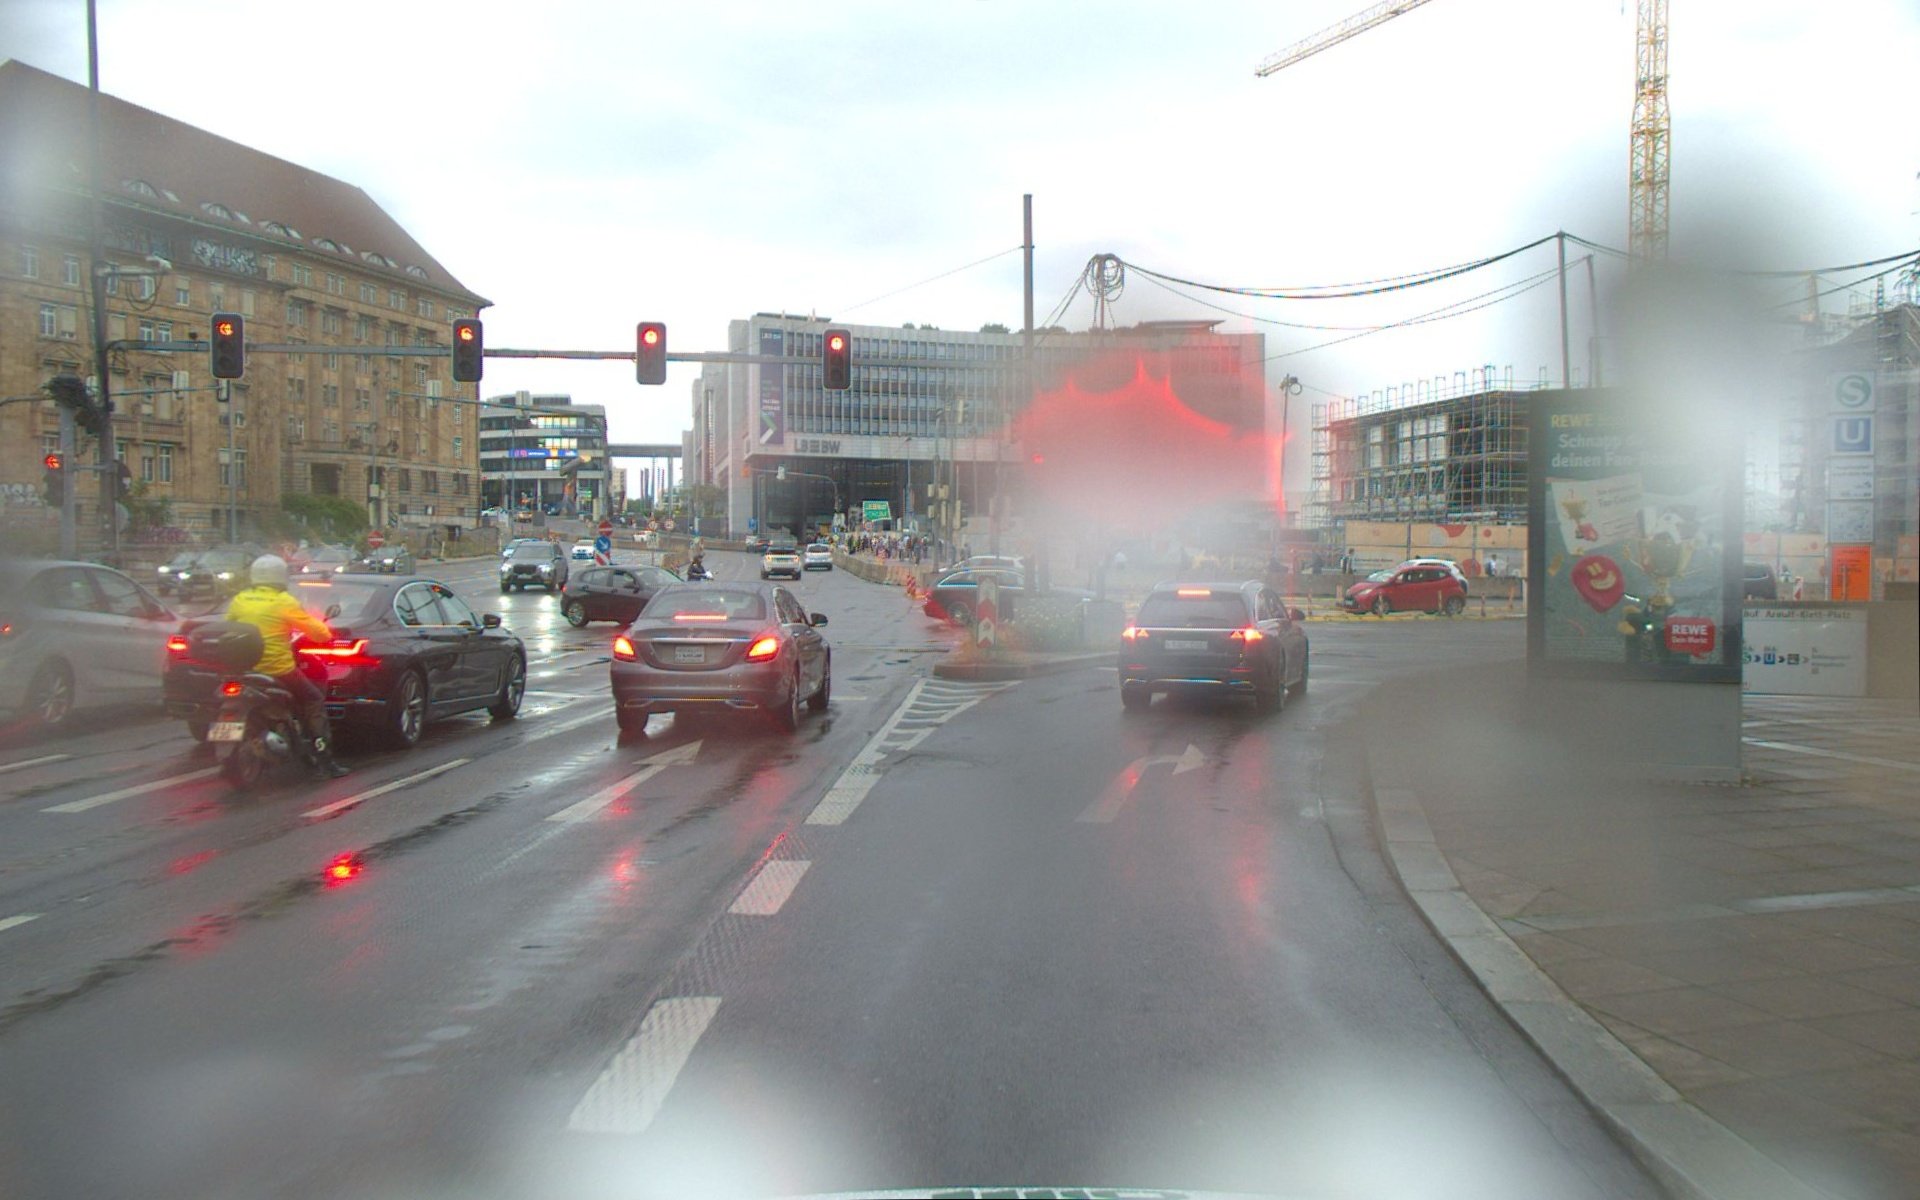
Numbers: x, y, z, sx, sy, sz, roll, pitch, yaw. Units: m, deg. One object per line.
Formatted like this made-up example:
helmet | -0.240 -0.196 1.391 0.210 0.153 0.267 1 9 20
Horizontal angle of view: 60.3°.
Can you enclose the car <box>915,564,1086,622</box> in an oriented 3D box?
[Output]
car | 1.043 -0.172 41.009 4.011 1.368 2.002 1 0 9

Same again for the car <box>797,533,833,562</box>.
car | -9.028 -3.294 102.803 1.698 1.668 3.423 1 4 -14

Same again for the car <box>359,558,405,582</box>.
car | -32.117 -1.634 91.914 1.704 1.282 3.325 1 0 -7

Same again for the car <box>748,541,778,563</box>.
car | -19.788 -4.795 165.841 1.967 2.049 3.970 1 0 -24

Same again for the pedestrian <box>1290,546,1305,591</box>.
pedestrian | 14.439 -1.351 70.805 0.563 1.931 0.362 1 0 0

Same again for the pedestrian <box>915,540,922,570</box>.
pedestrian | -2.704 -2.901 107.516 0.354 1.931 0.575 1 0 -10

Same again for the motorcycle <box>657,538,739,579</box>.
motorcycle | -7.335 -1.157 46.385 2.090 1.128 0.852 1 0 11

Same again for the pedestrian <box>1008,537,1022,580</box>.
pedestrian | 2.520 -1.904 75.865 0.359 1.931 0.568 1 0 -39

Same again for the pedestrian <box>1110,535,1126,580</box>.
pedestrian | 6.811 -1.834 71.264 0.359 1.931 0.568 1 0 -42

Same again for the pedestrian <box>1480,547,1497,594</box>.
pedestrian | 22.183 -1.240 69.453 0.563 1.931 0.362 1 0 -3

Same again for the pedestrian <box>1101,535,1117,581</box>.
pedestrian | 6.392 -1.807 70.968 0.359 1.931 0.568 -2 1 -40

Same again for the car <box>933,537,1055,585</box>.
car | 1.328 -1.530 64.663 4.316 1.797 1.999 1 0 25

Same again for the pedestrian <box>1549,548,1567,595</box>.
pedestrian | 25.024 -1.192 69.216 0.563 1.931 0.362 1 0 -3

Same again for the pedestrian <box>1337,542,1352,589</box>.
pedestrian | 16.040 -1.440 68.966 0.562 1.931 0.362 1 0 3

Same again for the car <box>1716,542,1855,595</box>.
car | 28.825 -1.076 57.813 3.912 1.764 1.996 1 0 -8

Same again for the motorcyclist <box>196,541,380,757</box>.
motorcyclist | -4.883 0.344 12.101 0.923 1.501 1.099 1 0 -4

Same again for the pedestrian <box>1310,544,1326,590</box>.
pedestrian | 15.078 -1.400 69.716 0.563 1.931 0.362 1 0 0

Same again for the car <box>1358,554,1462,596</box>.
car | 16.867 -0.930 62.123 3.472 1.498 1.787 1 0 5

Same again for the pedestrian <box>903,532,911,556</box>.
pedestrian | -4.336 -4.577 135.676 0.510 1.931 0.575 1 0 -10

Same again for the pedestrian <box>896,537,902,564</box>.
pedestrian | -4.469 -3.603 120.976 0.354 1.931 0.575 1 0 -10

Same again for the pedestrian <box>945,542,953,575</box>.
pedestrian | -0.628 -2.414 96.250 0.355 1.931 0.574 1 0 -14

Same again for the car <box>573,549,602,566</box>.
car | -30.149 -3.439 133.915 1.733 1.282 3.996 1 0 -5

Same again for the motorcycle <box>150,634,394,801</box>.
motorcycle | -4.889 0.794 11.961 0.923 1.006 2.293 1 1 -4

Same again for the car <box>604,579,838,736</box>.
car | -2.360 0.518 17.435 1.746 1.427 4.487 1 0 1

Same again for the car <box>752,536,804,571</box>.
car | -9.207 -2.320 83.340 1.961 1.668 3.982 1 0 -16

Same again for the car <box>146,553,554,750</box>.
car | -5.451 0.399 15.618 1.848 1.541 5.004 1 0 2

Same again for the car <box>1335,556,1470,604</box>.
car | 12.968 -0.570 48.524 3.470 1.327 1.662 1 0 -11

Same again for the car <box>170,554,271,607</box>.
car | -23.488 -0.620 52.690 1.767 1.601 4.069 1 0 -7

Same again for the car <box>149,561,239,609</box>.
car | -26.615 -0.508 57.619 1.665 1.601 3.994 1 0 -7

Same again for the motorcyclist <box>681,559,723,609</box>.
motorcyclist | -7.239 -0.443 46.371 0.925 1.382 0.850 1 0 11

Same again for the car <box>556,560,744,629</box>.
car | -7.280 -0.147 38.749 4.023 1.533 1.996 1 0 31

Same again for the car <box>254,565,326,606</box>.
car | -26.864 -0.601 66.391 1.664 1.545 3.551 -2 1 -5

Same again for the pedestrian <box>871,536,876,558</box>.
pedestrian | -7.862 -4.815 150.691 0.354 1.931 0.575 1 0 -10

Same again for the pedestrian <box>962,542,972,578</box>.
pedestrian | 0.360 -2.131 88.441 0.355 1.931 0.573 1 0 -18

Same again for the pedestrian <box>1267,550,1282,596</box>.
pedestrian | 13.548 -1.162 71.224 0.563 1.931 0.362 1 0 21

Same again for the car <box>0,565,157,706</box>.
car | -11.752 0.397 19.806 1.745 1.627 4.076 1 0 11

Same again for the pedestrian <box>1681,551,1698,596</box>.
pedestrian | 31.230 -1.130 70.836 0.563 1.931 0.362 1 0 -5

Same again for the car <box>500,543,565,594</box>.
car | -16.389 -1.175 63.636 1.957 1.829 5.091 1 0 -10

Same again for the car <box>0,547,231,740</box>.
car | -8.884 0.355 16.112 1.697 1.644 4.001 1 0 1

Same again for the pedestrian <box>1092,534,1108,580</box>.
pedestrian | 5.978 -1.840 70.637 0.359 1.931 0.567 1 0 -43

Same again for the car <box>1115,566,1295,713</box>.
car | 3.043 0.417 19.901 1.851 1.571 3.997 1 0 12

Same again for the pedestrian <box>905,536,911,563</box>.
pedestrian | -3.792 -3.673 121.079 0.354 1.931 0.575 1 0 -10

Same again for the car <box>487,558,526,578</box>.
car | -30.248 -2.131 110.456 1.733 1.282 4.190 1 0 -5

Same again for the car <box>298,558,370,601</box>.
car | -24.241 -0.771 64.156 1.665 1.601 3.994 1 0 -7

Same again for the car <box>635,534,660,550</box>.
car | -36.950 -6.847 195.451 1.968 1.847 3.969 1 0 -25
